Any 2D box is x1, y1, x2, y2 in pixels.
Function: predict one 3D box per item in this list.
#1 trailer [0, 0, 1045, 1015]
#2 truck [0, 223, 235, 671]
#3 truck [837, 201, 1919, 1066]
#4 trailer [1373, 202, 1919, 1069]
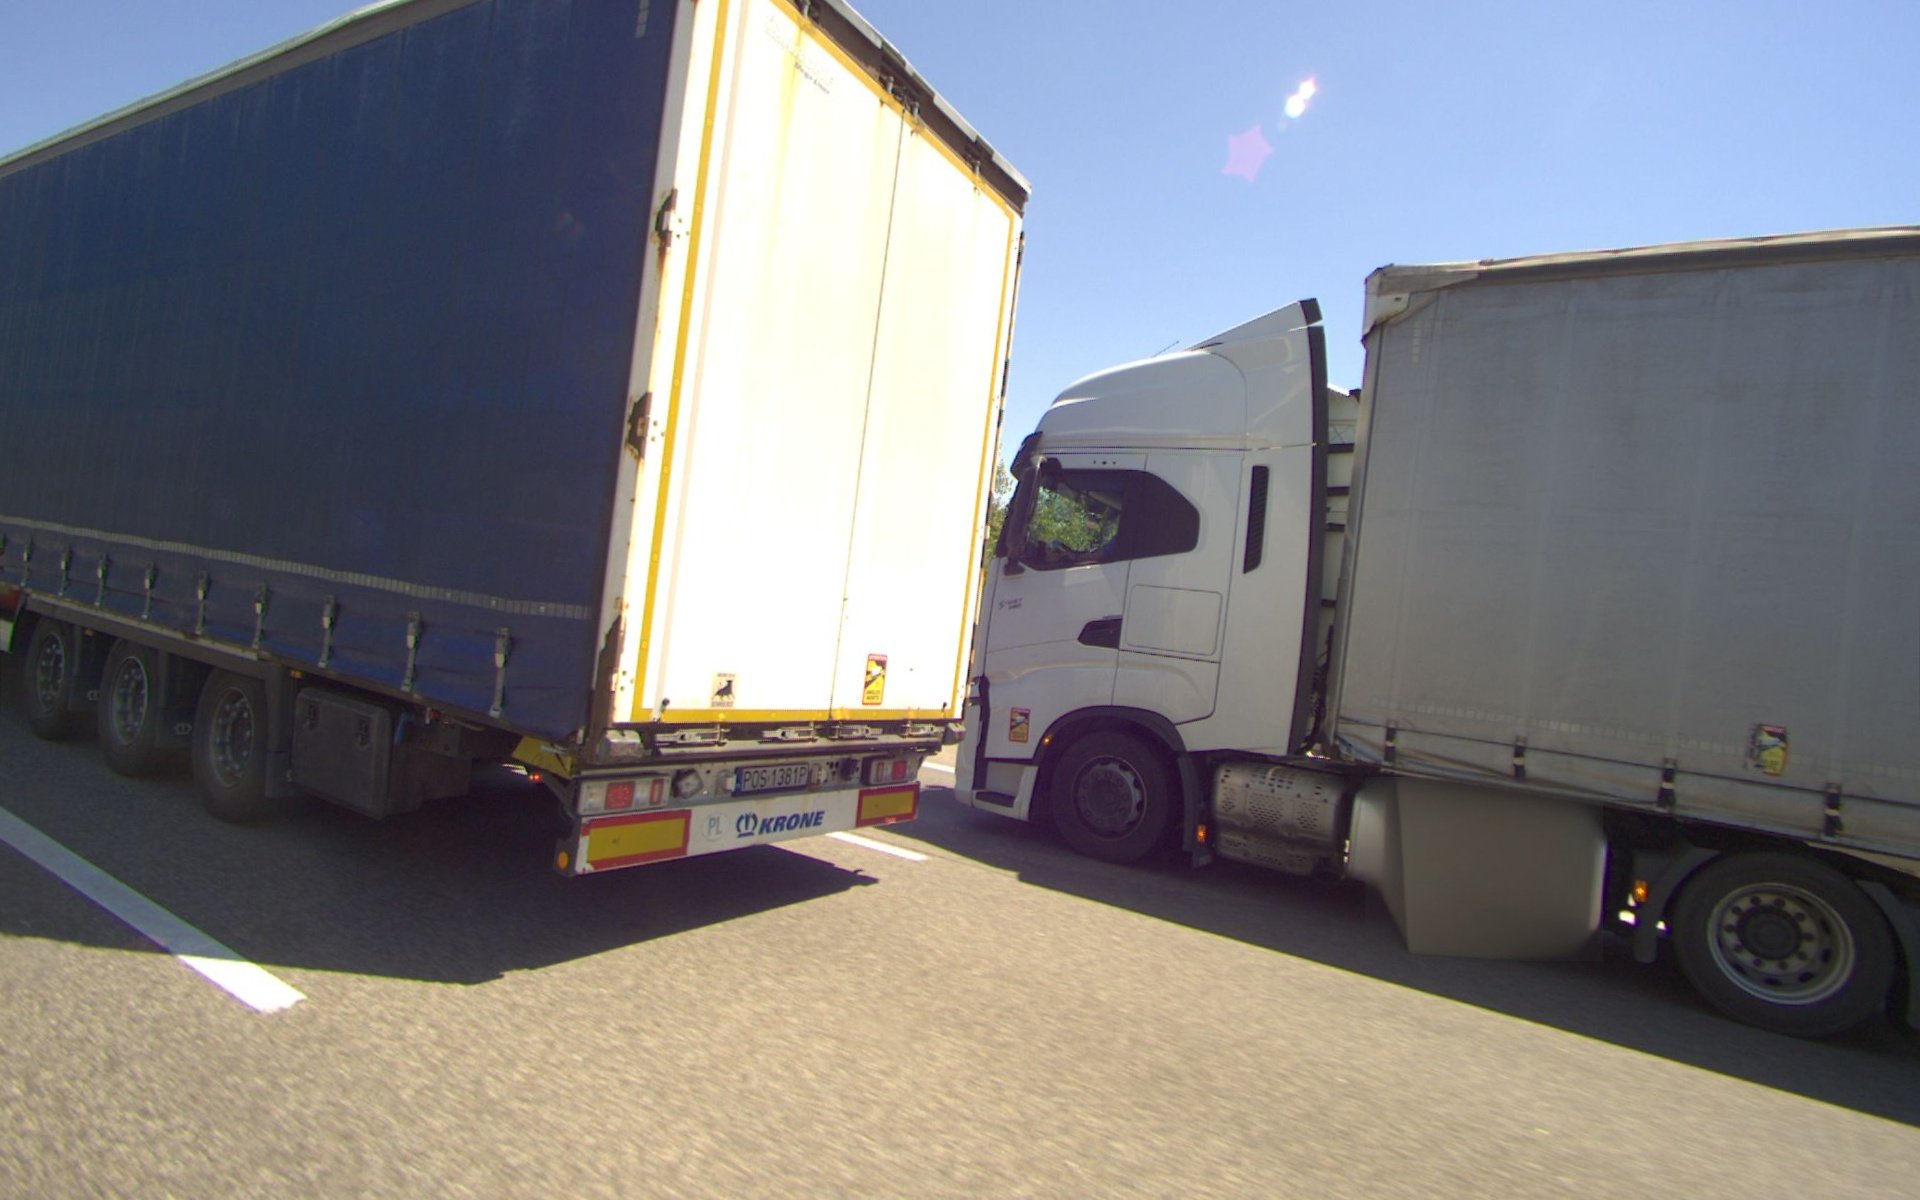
[{"bbox_3d":[-5.482,-1.031,7.809,11.930,4.166,2.705,6,-1,32],"label":"trailer"},{"bbox_3d":[-11.878,-1.723,11.757,6.874,4.166,2.705,6,-1,31],"label":"truck"},{"bbox_3d":[2.852,-0.016,7.526,6.874,4.166,2.705,6,-1,31],"label":"truck"},{"bbox_3d":[8.902,0.635,3.748,13.022,4.166,2.705,6,-1,32],"label":"trailer"}]
